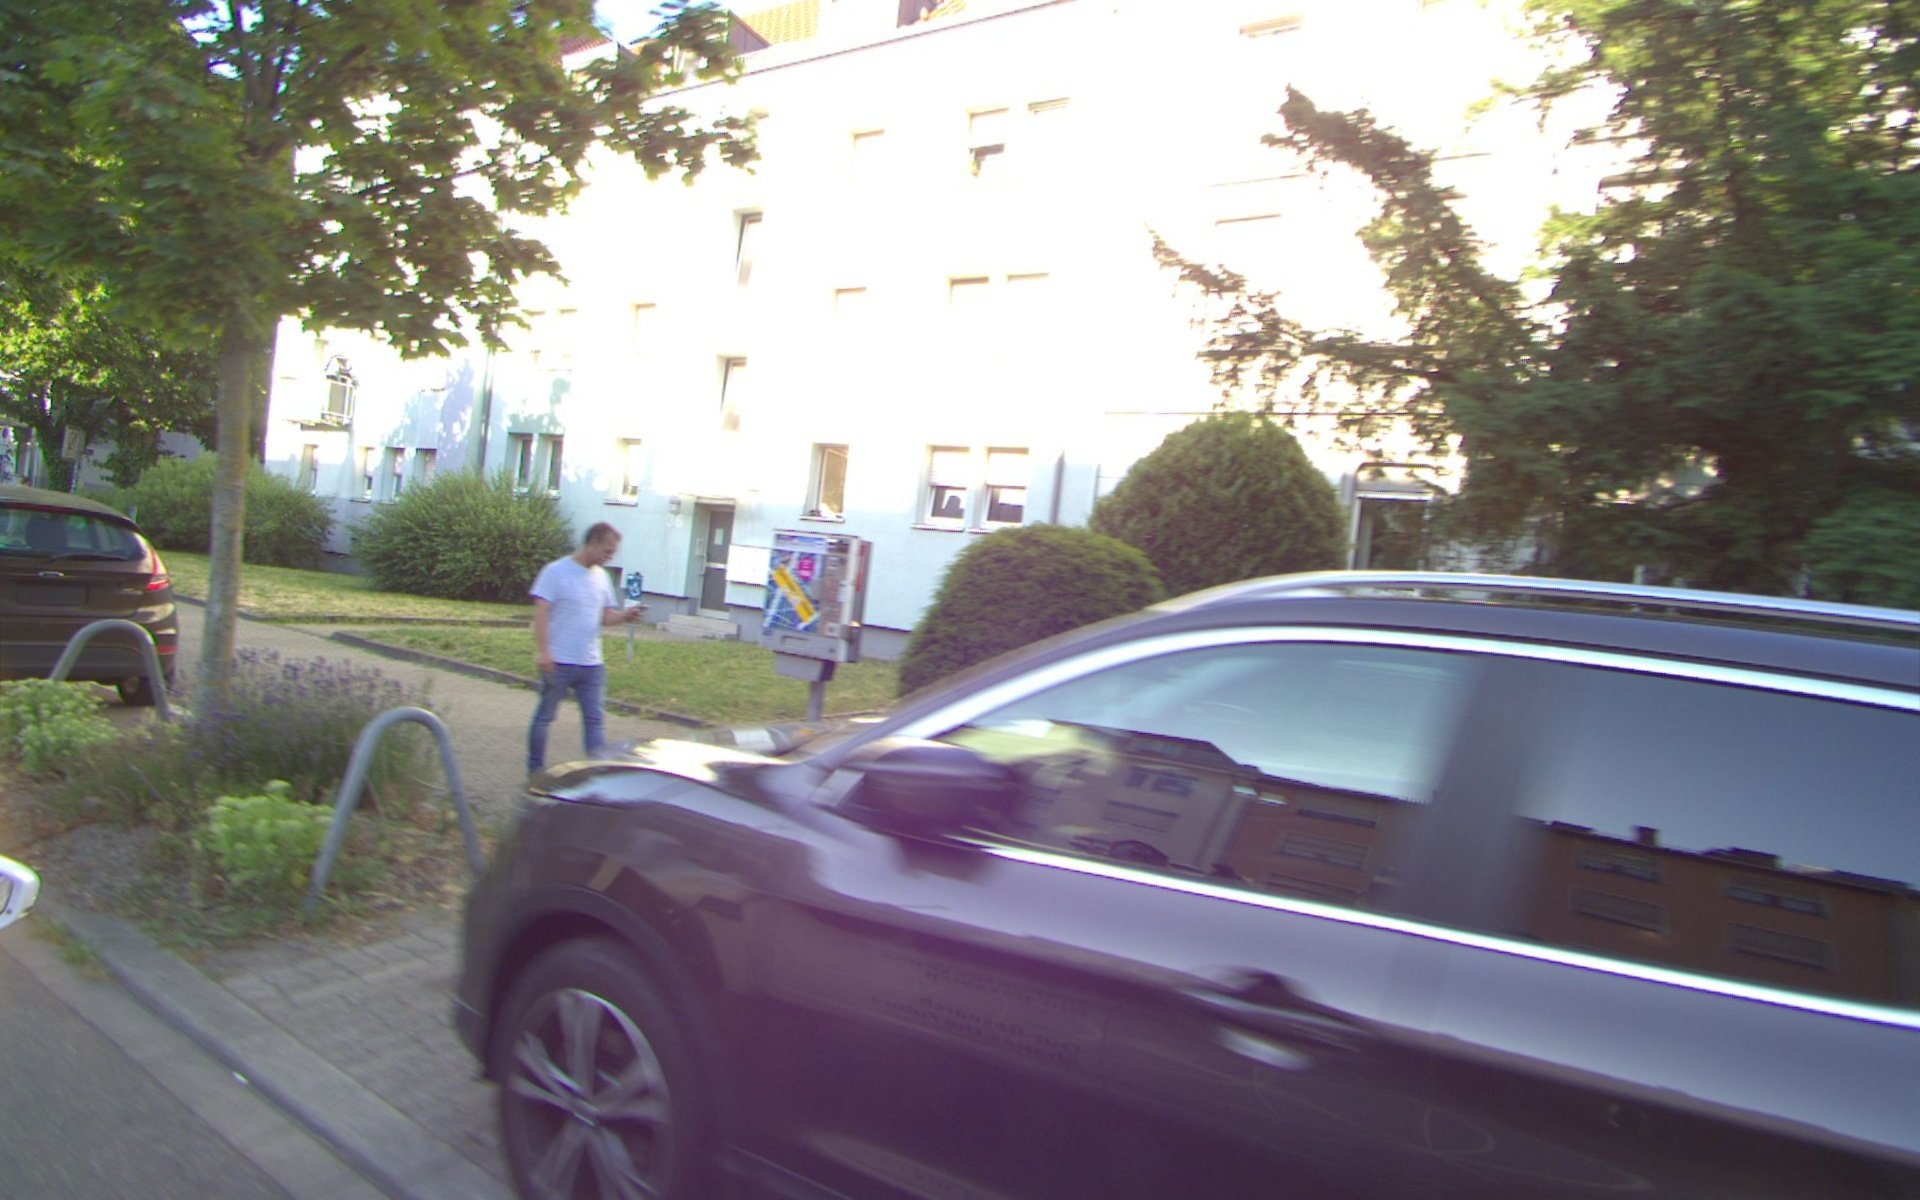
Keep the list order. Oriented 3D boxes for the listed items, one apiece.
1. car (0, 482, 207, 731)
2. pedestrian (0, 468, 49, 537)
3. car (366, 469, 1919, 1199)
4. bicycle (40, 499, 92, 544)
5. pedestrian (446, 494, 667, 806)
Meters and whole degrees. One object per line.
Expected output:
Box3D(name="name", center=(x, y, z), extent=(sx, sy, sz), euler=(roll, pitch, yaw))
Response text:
Box3D(name="car", center=(-7.294, -0.139, 7.250), extent=(3.893, 1.485, 1.614), euler=(7, 1, 32))
Box3D(name="pedestrian", center=(-25.704, -2.666, 27.509), extent=(0.787, 1.744, 0.742), euler=(6, 1, -9))
Box3D(name="car", center=(0.771, 0.757, 2.142), extent=(4.028, 1.621, 1.720), euler=(7, 0, 32))
Box3D(name="bicycle", center=(-22.476, -1.978, 25.281), extent=(1.652, 0.956, 0.475), euler=(7, 1, 32))
Box3D(name="pedestrian", center=(-2.452, 0.289, 6.134), extent=(0.795, 1.721, 0.788), euler=(7, 0, 36))
